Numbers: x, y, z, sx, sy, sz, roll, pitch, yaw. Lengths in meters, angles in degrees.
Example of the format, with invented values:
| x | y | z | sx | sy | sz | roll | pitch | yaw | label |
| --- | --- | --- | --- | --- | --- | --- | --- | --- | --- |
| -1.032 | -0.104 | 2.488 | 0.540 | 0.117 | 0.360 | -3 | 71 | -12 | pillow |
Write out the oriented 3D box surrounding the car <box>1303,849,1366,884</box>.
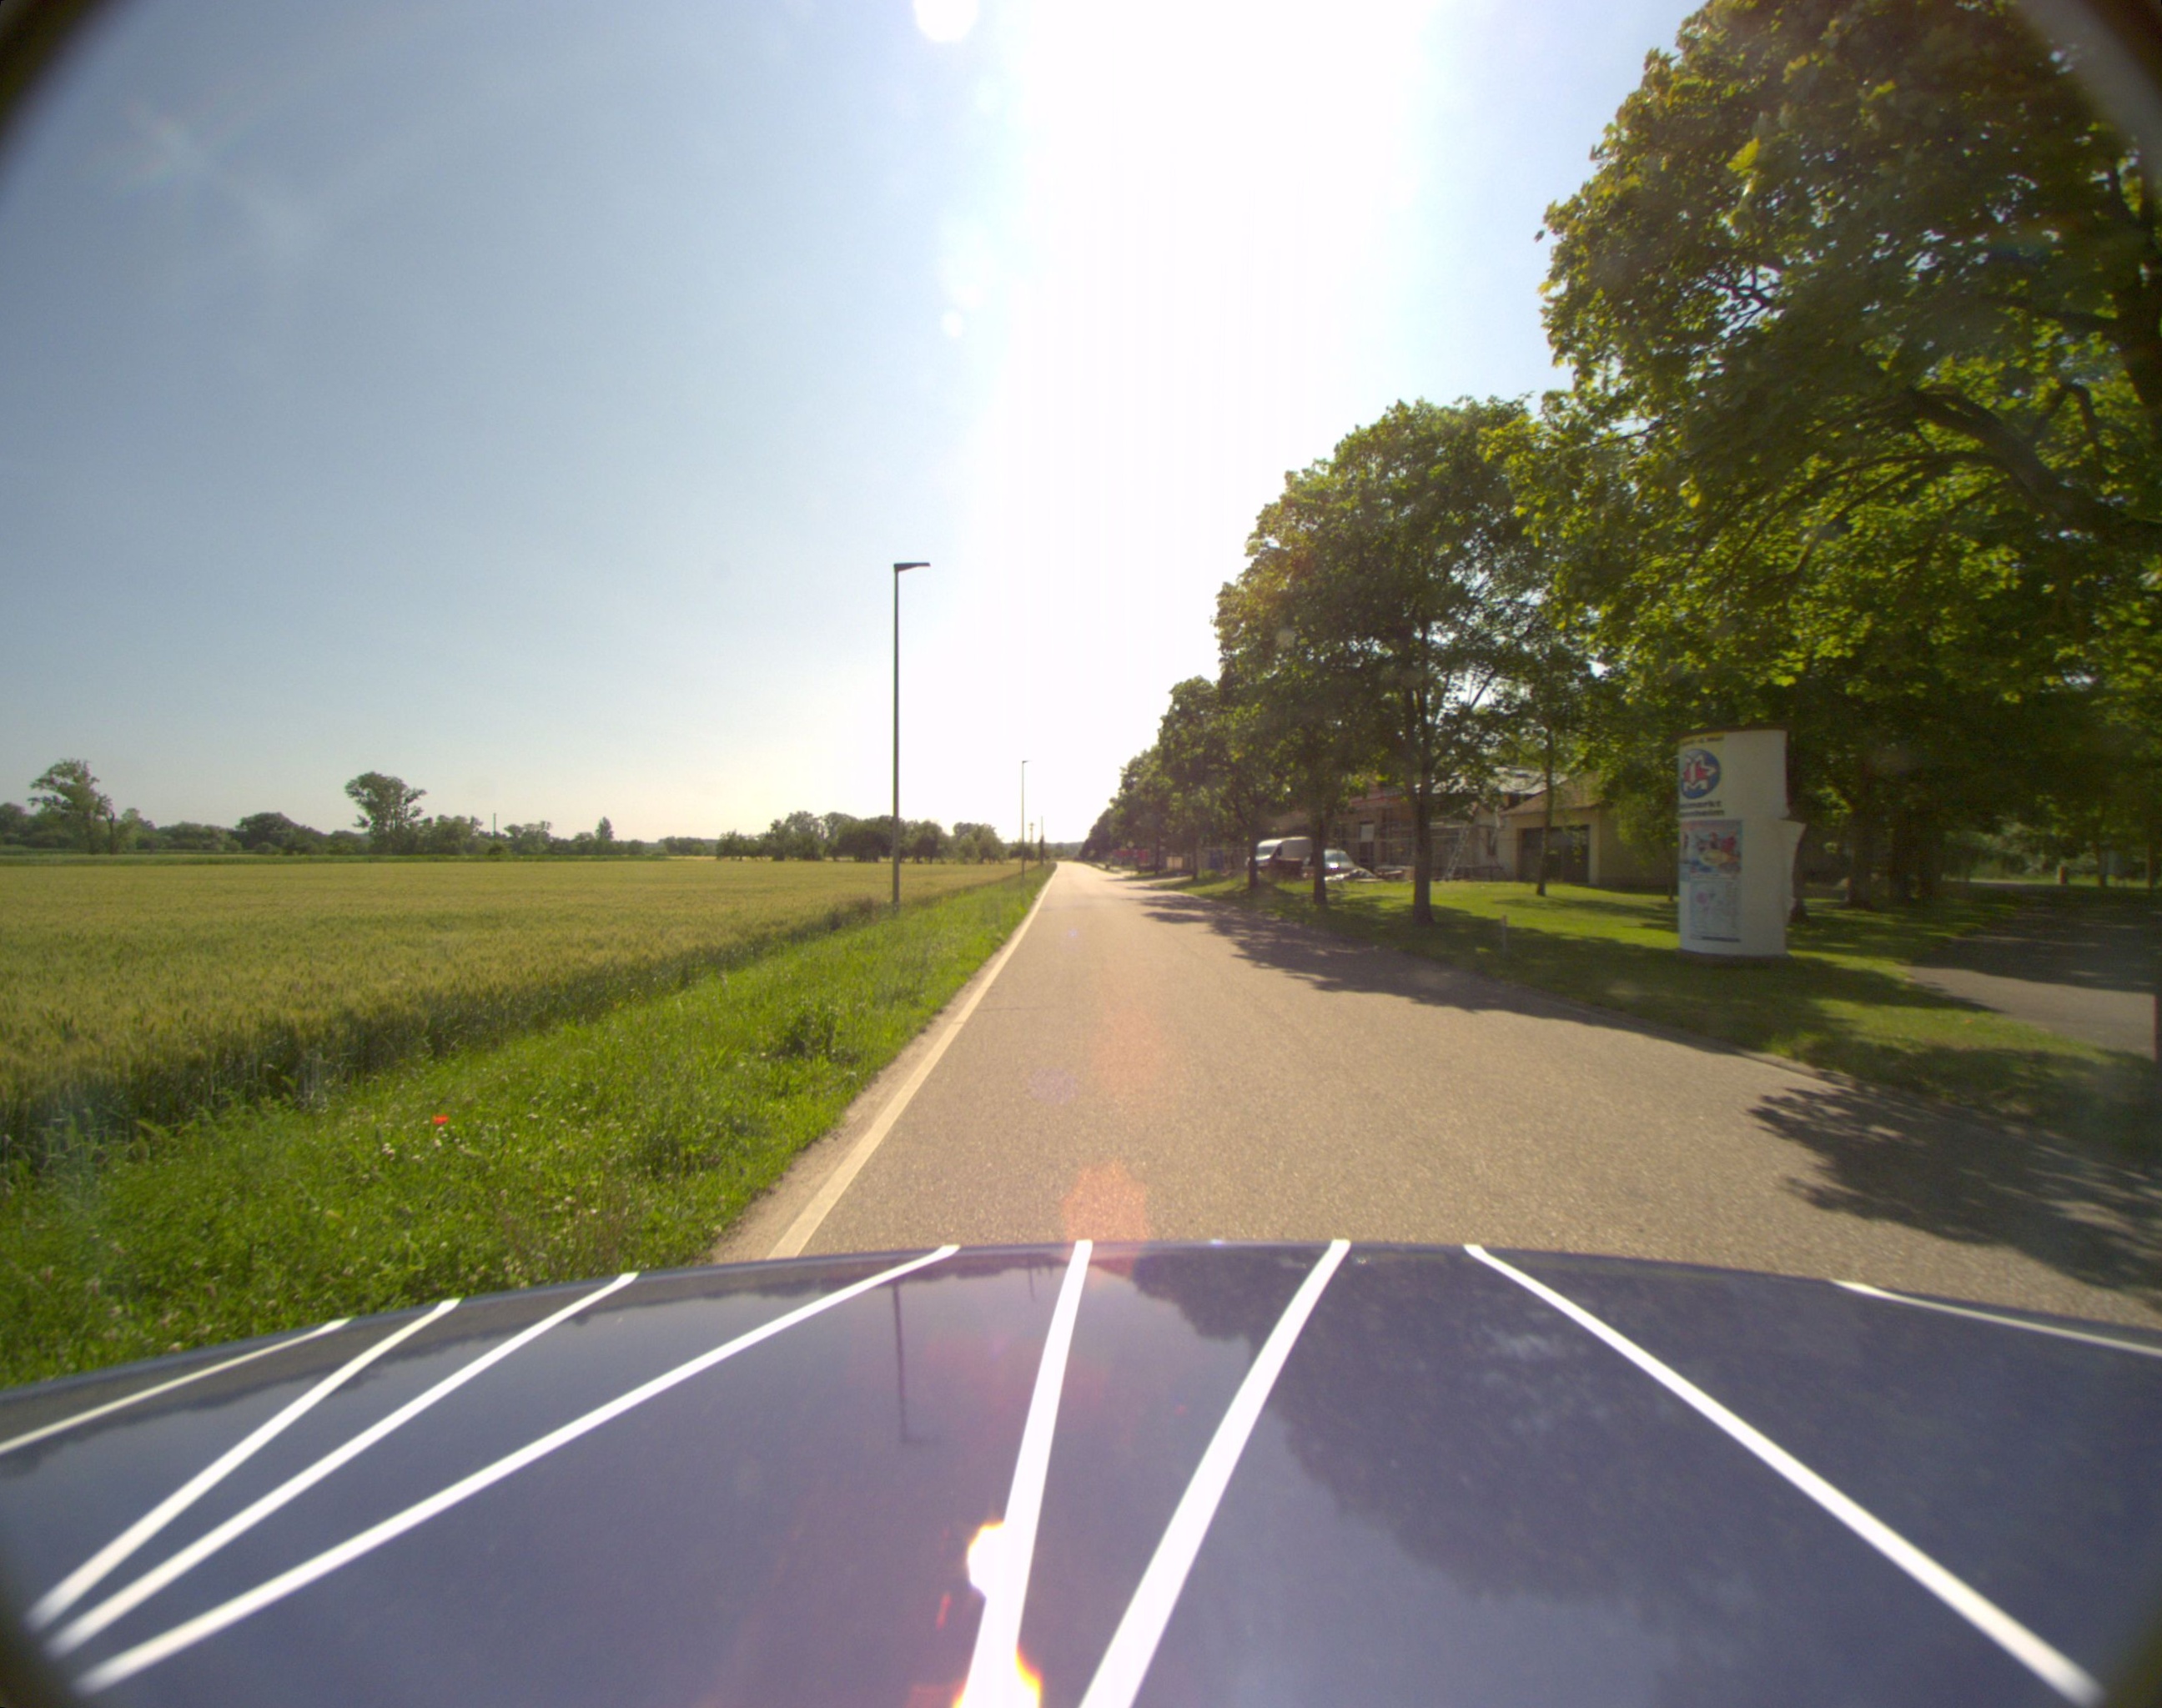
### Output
| x | y | z | sx | sy | sz | roll | pitch | yaw | label |
| --- | --- | --- | --- | --- | --- | --- | --- | --- | --- |
| 14.189 | 0.679 | 42.816 | 1.976 | 1.827 | 4.327 | 0 | 0 | -2 | car |

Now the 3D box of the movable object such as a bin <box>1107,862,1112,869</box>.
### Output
| x | y | z | sx | sy | sz | roll | pitch | yaw | label |
| --- | --- | --- | --- | --- | --- | --- | --- | --- | --- |
| 3.530 | 1.391 | 94.878 | 0.563 | 0.872 | 0.614 | 1 | 0 | 6 | movable object such as a bin |

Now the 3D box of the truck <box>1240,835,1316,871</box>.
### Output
| x | y | z | sx | sy | sz | roll | pitch | yaw | label |
| --- | --- | --- | --- | --- | --- | --- | --- | --- | --- |
| 14.134 | -0.090 | 54.345 | 5.943 | 2.469 | 1.994 | -1 | 1 | -38 | truck |
